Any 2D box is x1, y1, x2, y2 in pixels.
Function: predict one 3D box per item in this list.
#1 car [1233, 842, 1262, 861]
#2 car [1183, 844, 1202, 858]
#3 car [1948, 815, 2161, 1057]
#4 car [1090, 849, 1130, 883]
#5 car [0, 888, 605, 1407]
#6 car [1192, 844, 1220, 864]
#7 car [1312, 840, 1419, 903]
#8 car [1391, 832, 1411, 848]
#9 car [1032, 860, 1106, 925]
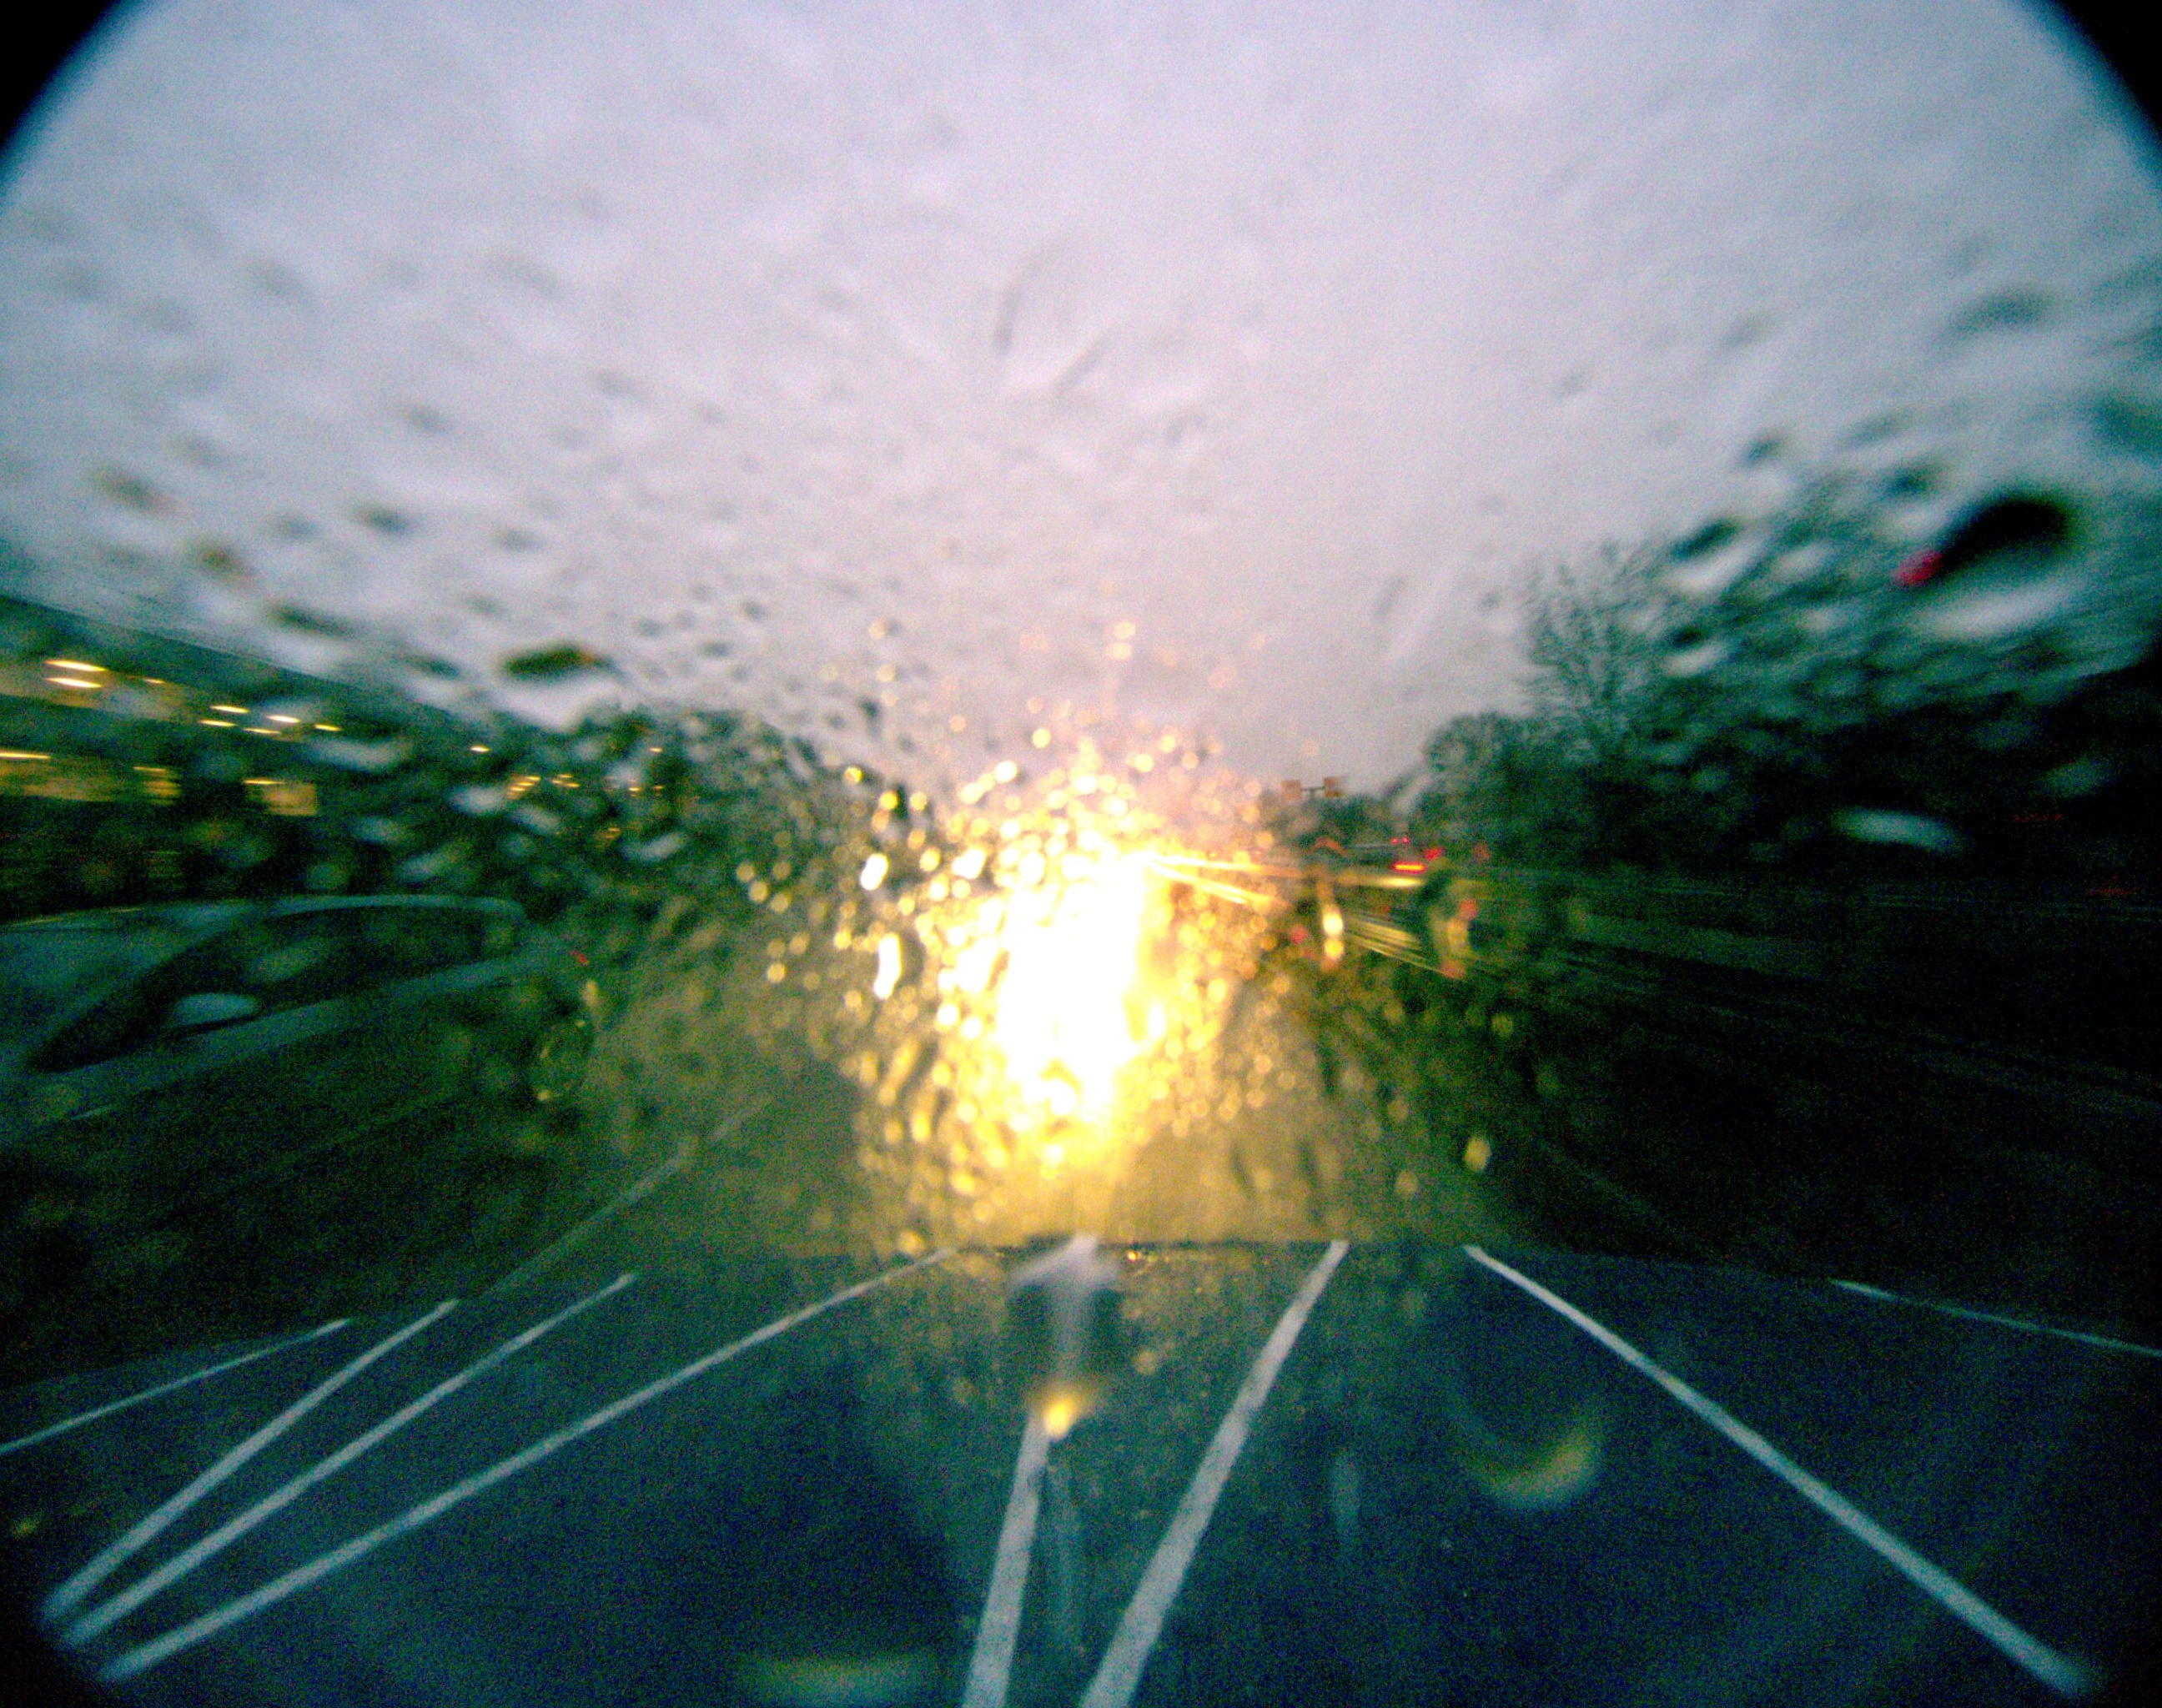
[{"bbox_3d":[15.162,-0.262,69.260,1.708,1.557,4.850,-3,1,2],"label":"car"},{"bbox_3d":[13.185,-0.383,89.776,1.740,1.486,3.843,-3,1,3],"label":"car"},{"bbox_3d":[7.735,0.503,3.919,1.787,1.501,4.134,-3,1,1],"label":"car"},{"bbox_3d":[1.542,0.549,38.836,1.758,1.521,4.001,-3,1,5],"label":"car"},{"bbox_3d":[-4.373,1.056,3.215,1.854,1.493,4.262,-3,1,2],"label":"car"},{"bbox_3d":[10.246,-0.047,62.648,1.620,1.475,4.599,-3,1,2],"label":"car"},{"bbox_3d":[7.711,0.432,20.947,1.657,1.510,3.505,-3,1,2],"label":"car"},{"bbox_3d":[43.192,-1.923,102.565,1.995,1.902,4.452,-3,1,28],"label":"car"},{"bbox_3d":[-0.214,0.943,20.412,1.594,1.445,4.177,-3,0,4],"label":"car"}]
